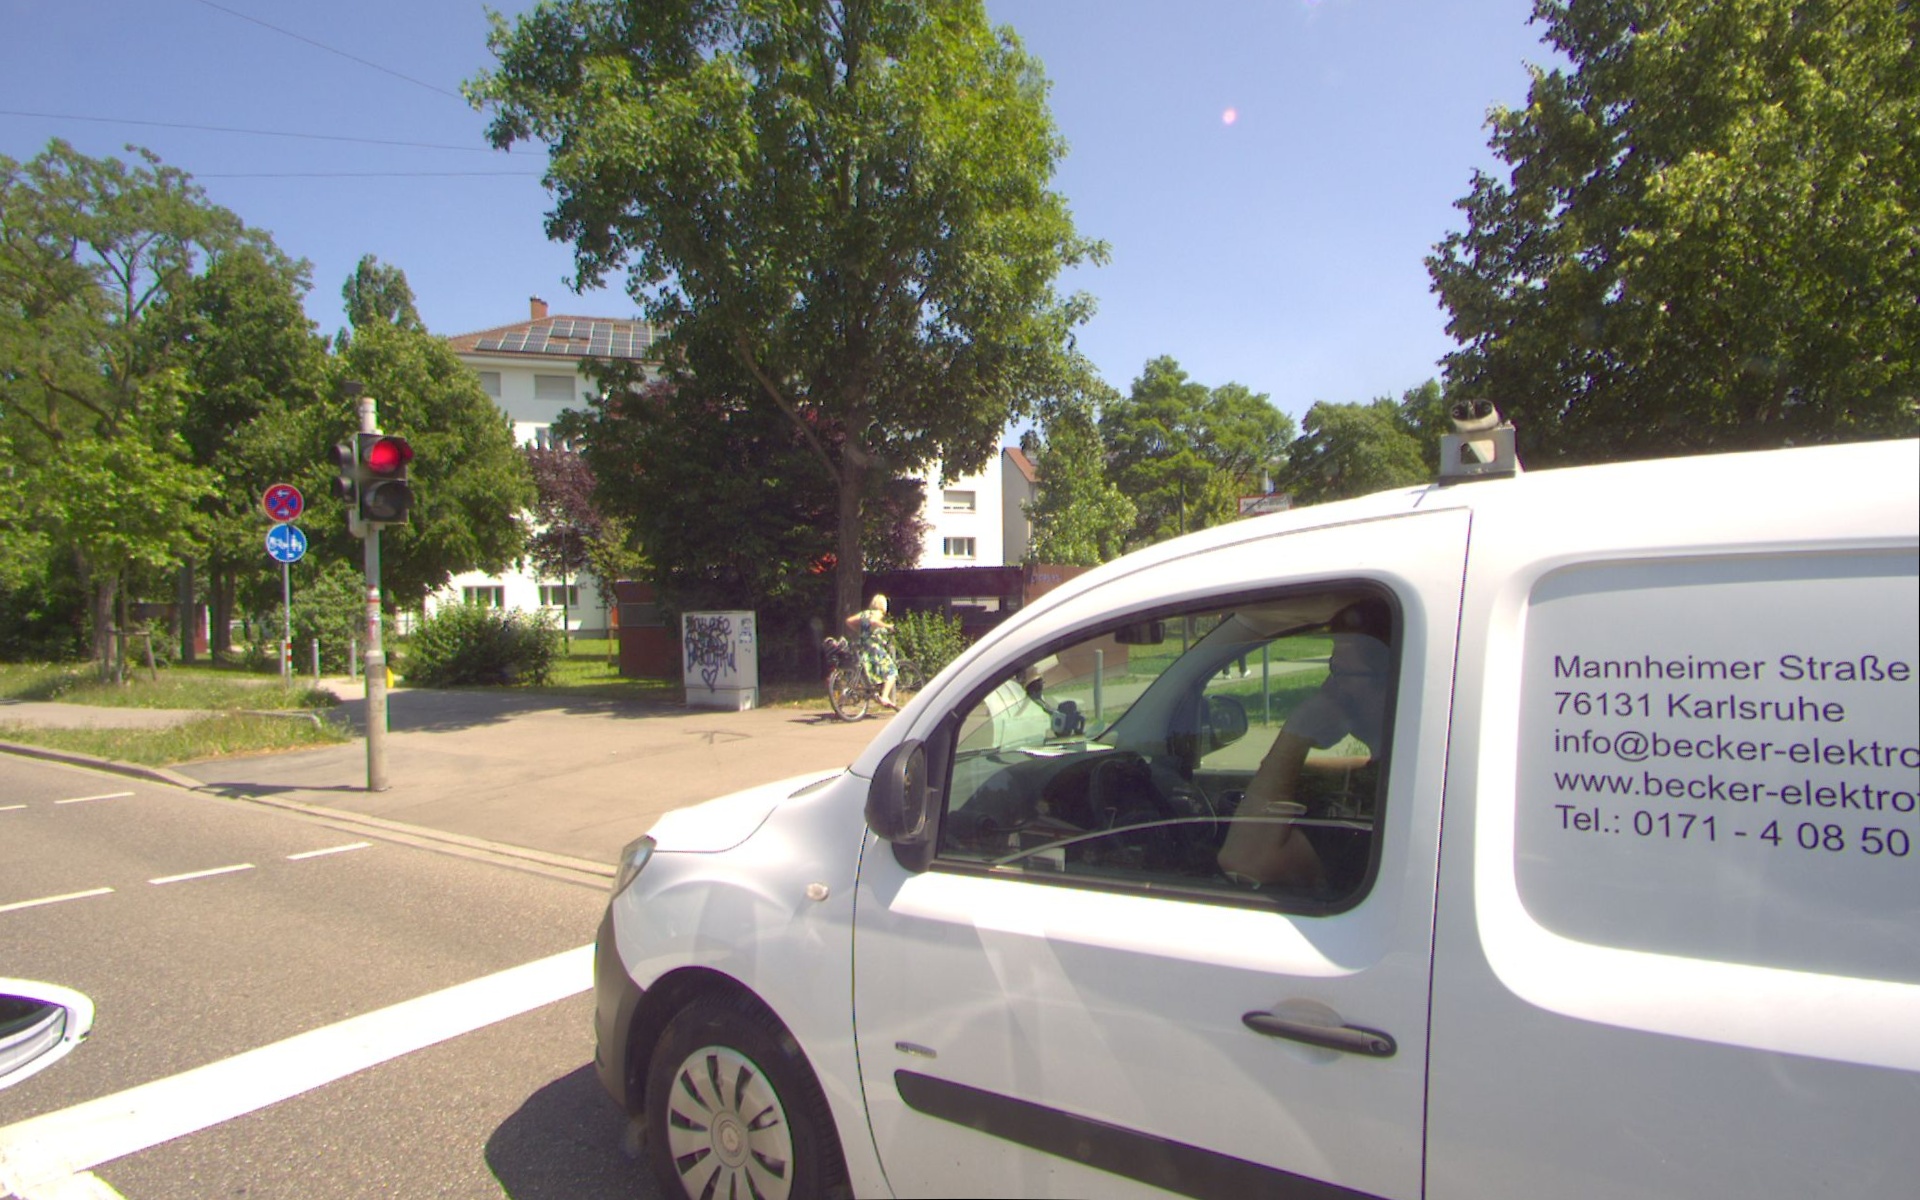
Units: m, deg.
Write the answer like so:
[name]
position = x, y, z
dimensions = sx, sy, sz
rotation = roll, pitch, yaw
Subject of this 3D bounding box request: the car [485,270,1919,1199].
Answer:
[car]
position = 1.127, 0.566, 2.302
dimensions = 4.384, 1.850, 1.990
rotation = -1, 0, 32

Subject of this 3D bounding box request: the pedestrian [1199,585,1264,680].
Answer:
[pedestrian]
position = 5.402, 0.626, 19.895
dimensions = 0.829, 1.801, 1.180
rotation = -2, 1, 36

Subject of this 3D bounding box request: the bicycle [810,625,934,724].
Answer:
[bicycle]
position = -1.094, 0.914, 12.929
dimensions = 0.533, 1.176, 1.954
rotation = 0, -1, 32

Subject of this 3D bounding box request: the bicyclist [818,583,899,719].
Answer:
[bicyclist]
position = -1.318, 0.634, 13.066
dimensions = 0.572, 1.689, 0.955
rotation = 0, 2, 32
